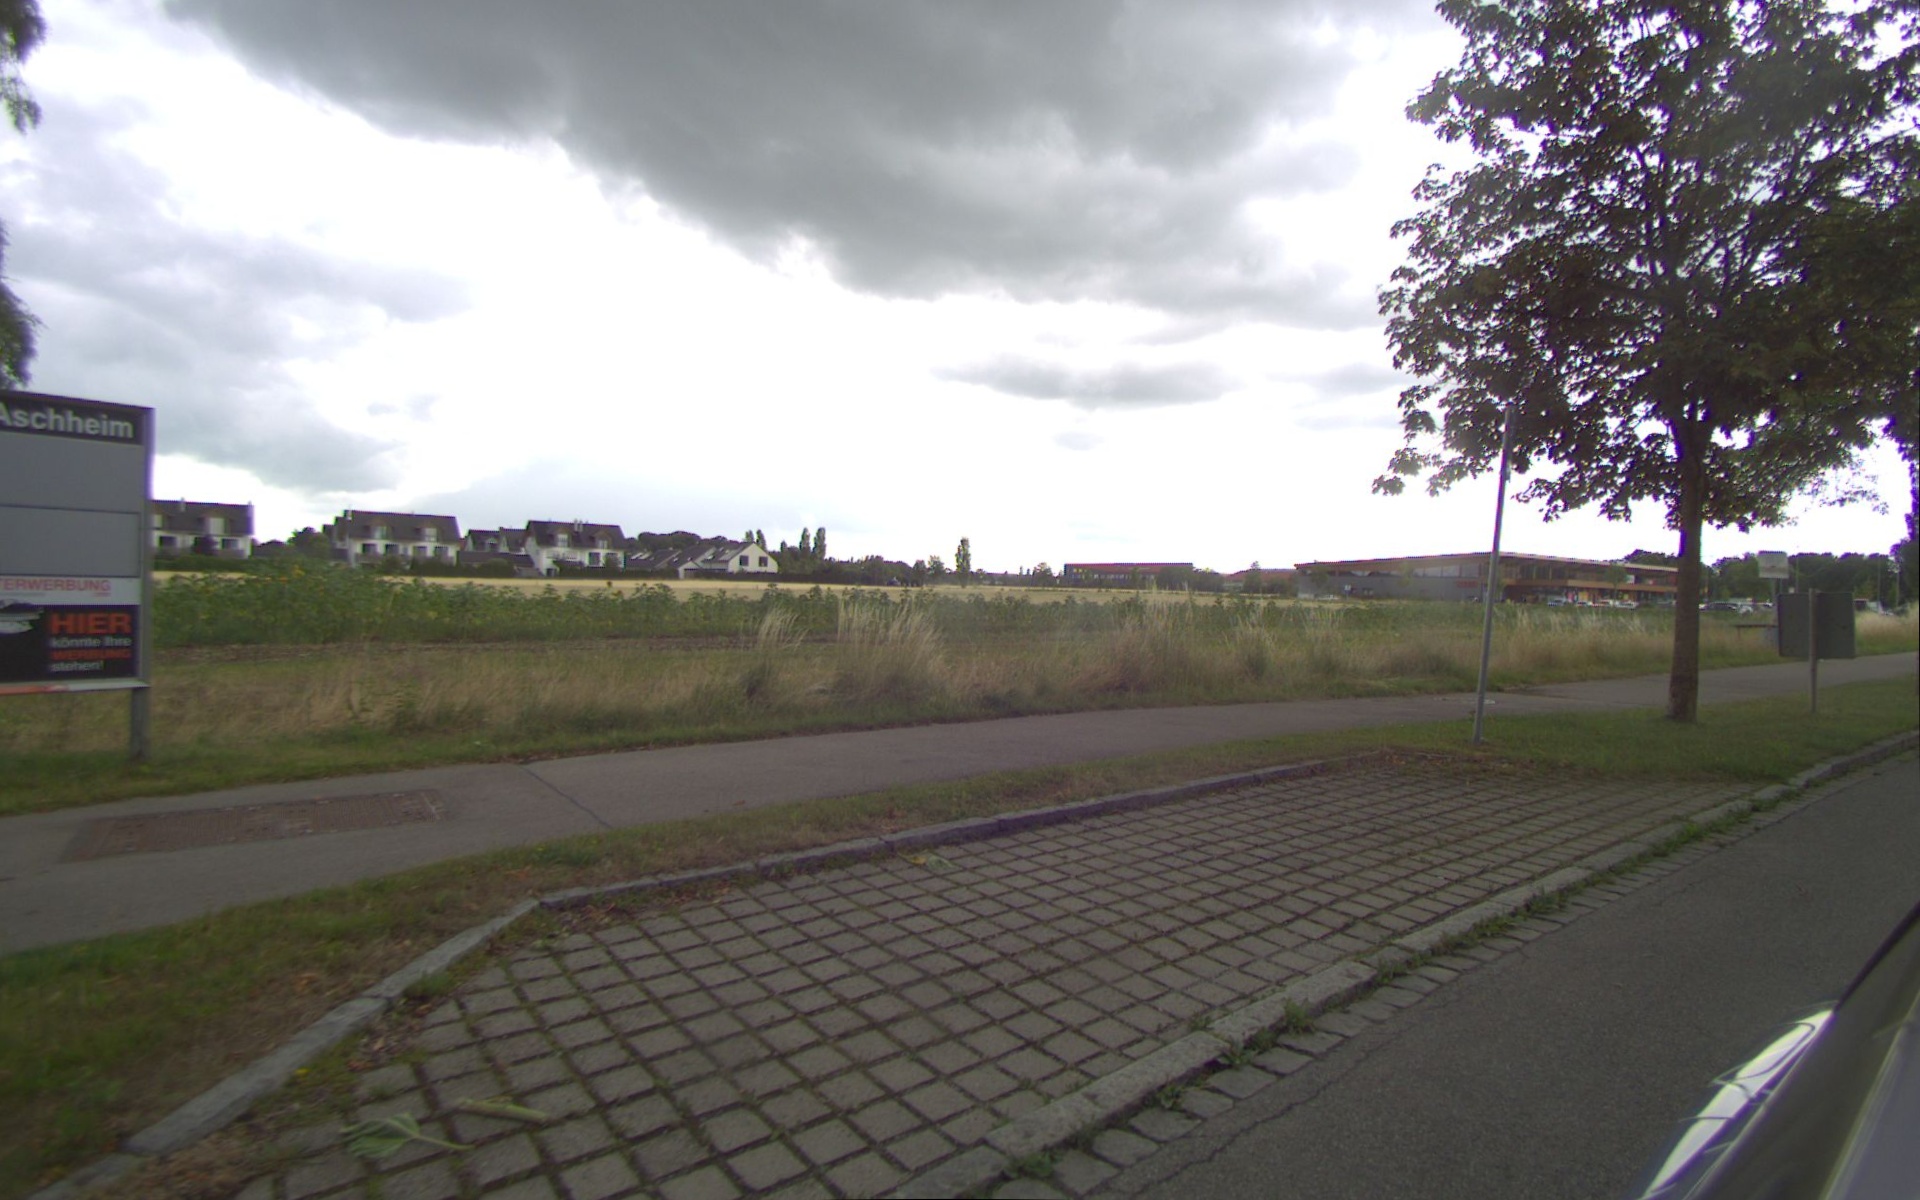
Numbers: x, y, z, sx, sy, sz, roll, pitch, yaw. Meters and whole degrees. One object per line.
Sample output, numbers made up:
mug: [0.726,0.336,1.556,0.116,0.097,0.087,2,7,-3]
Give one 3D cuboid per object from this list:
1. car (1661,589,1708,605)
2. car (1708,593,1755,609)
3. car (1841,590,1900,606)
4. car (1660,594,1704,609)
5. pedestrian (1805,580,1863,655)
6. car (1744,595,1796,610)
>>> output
car: [98.939,-0.405,138.229,1.966,2.039,4.847,0,0,-43]
car: [103.966,0.159,136.411,1.966,2.039,4.847,0,0,-43]
car: [119.165,-0.298,132.473,1.966,2.039,5.518,0,0,-41]
car: [102.611,0.180,143.819,1.966,2.039,4.847,0,0,-43]
pedestrian: [21.220,0.420,24.582,0.852,1.777,0.841,0,0,-31]
car: [116.039,0.334,145.010,1.966,2.039,5.518,0,0,-41]
